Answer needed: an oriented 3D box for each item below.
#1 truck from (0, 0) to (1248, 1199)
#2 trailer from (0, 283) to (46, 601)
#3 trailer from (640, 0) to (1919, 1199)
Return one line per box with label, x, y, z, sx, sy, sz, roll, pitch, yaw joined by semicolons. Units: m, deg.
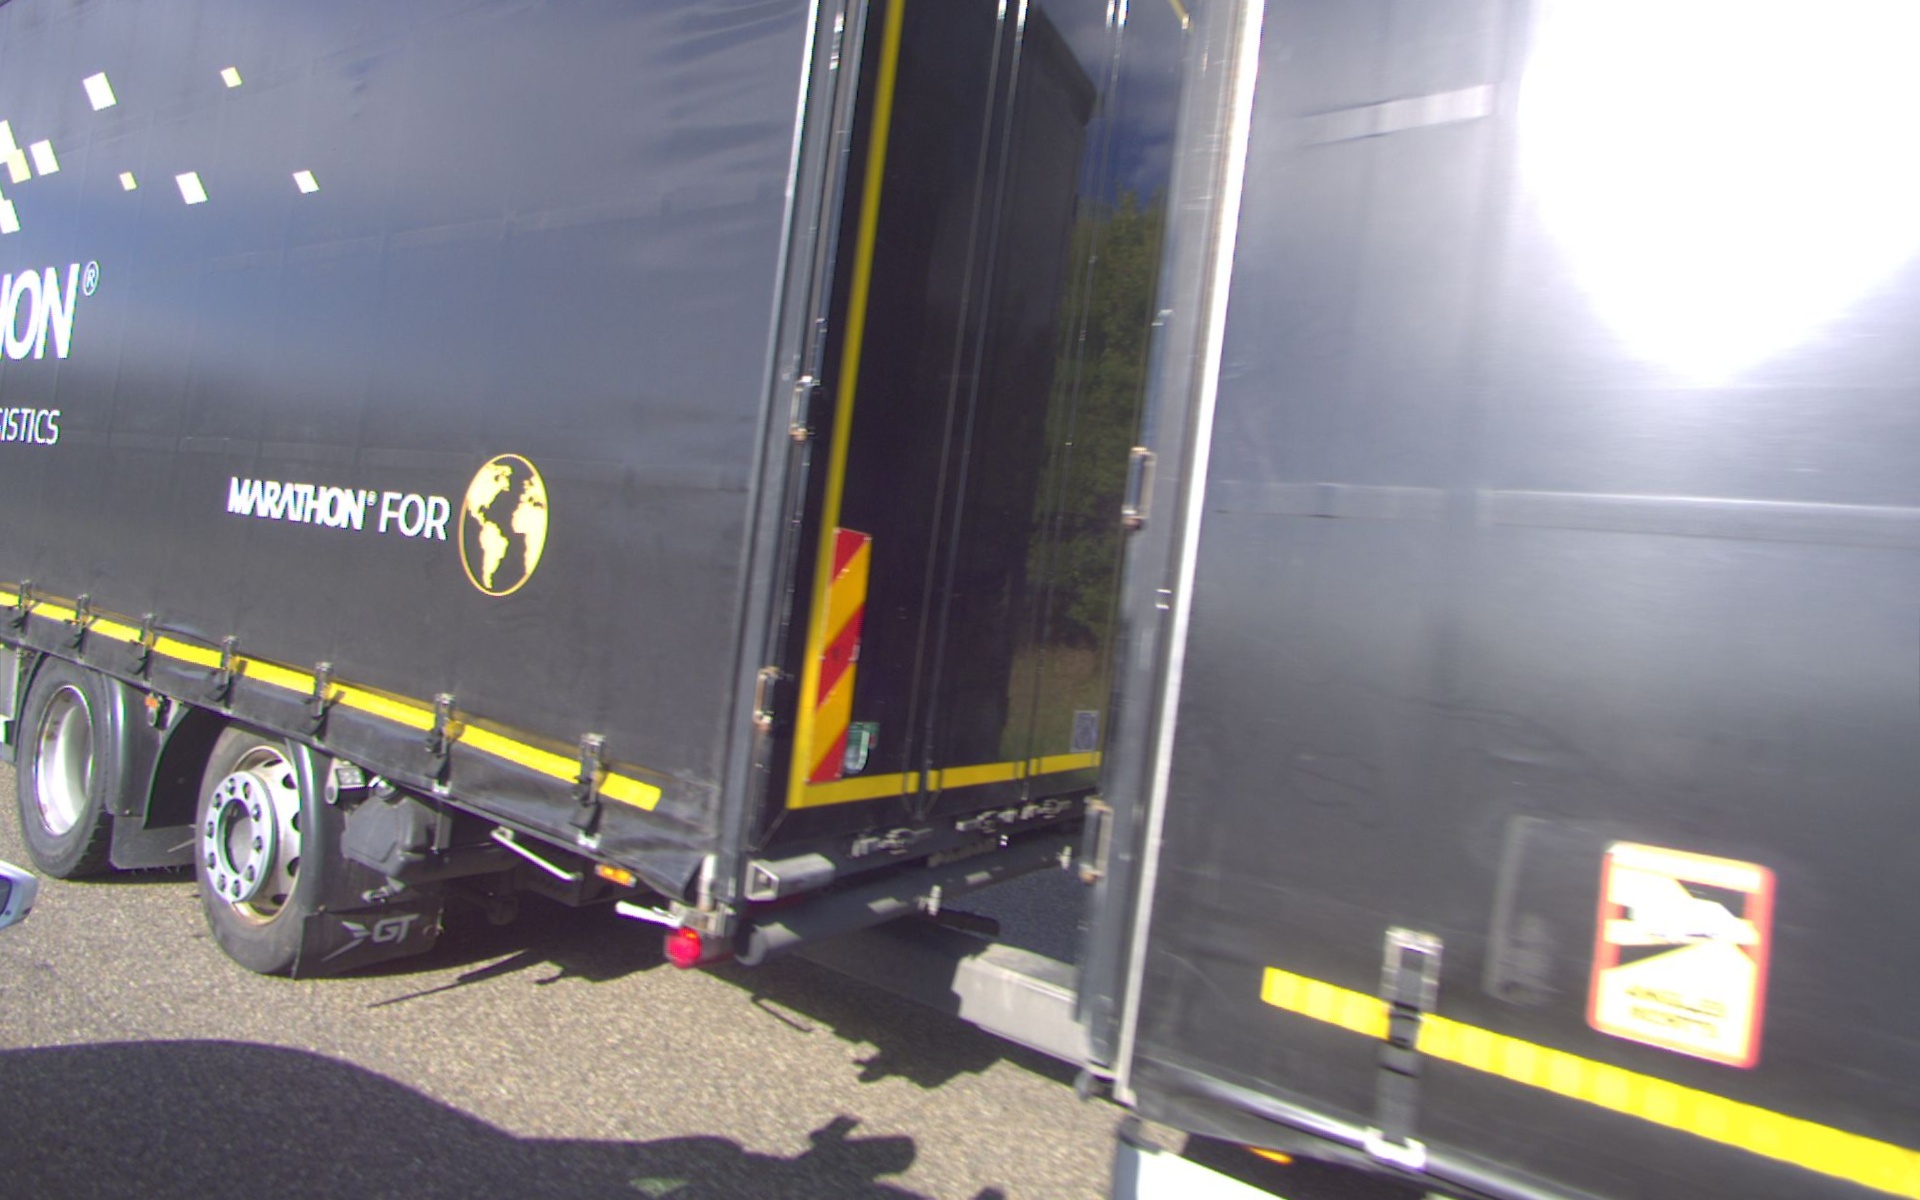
truck;-3.961;-0.998;5.732;10.031;4.086;2.746;7;-1;31
trailer;-18.163;-2.712;15.255;12.855;3.986;2.796;7;-1;32
trailer;3.942;0.009;0.928;8.566;4.005;2.723;8;-2;32
